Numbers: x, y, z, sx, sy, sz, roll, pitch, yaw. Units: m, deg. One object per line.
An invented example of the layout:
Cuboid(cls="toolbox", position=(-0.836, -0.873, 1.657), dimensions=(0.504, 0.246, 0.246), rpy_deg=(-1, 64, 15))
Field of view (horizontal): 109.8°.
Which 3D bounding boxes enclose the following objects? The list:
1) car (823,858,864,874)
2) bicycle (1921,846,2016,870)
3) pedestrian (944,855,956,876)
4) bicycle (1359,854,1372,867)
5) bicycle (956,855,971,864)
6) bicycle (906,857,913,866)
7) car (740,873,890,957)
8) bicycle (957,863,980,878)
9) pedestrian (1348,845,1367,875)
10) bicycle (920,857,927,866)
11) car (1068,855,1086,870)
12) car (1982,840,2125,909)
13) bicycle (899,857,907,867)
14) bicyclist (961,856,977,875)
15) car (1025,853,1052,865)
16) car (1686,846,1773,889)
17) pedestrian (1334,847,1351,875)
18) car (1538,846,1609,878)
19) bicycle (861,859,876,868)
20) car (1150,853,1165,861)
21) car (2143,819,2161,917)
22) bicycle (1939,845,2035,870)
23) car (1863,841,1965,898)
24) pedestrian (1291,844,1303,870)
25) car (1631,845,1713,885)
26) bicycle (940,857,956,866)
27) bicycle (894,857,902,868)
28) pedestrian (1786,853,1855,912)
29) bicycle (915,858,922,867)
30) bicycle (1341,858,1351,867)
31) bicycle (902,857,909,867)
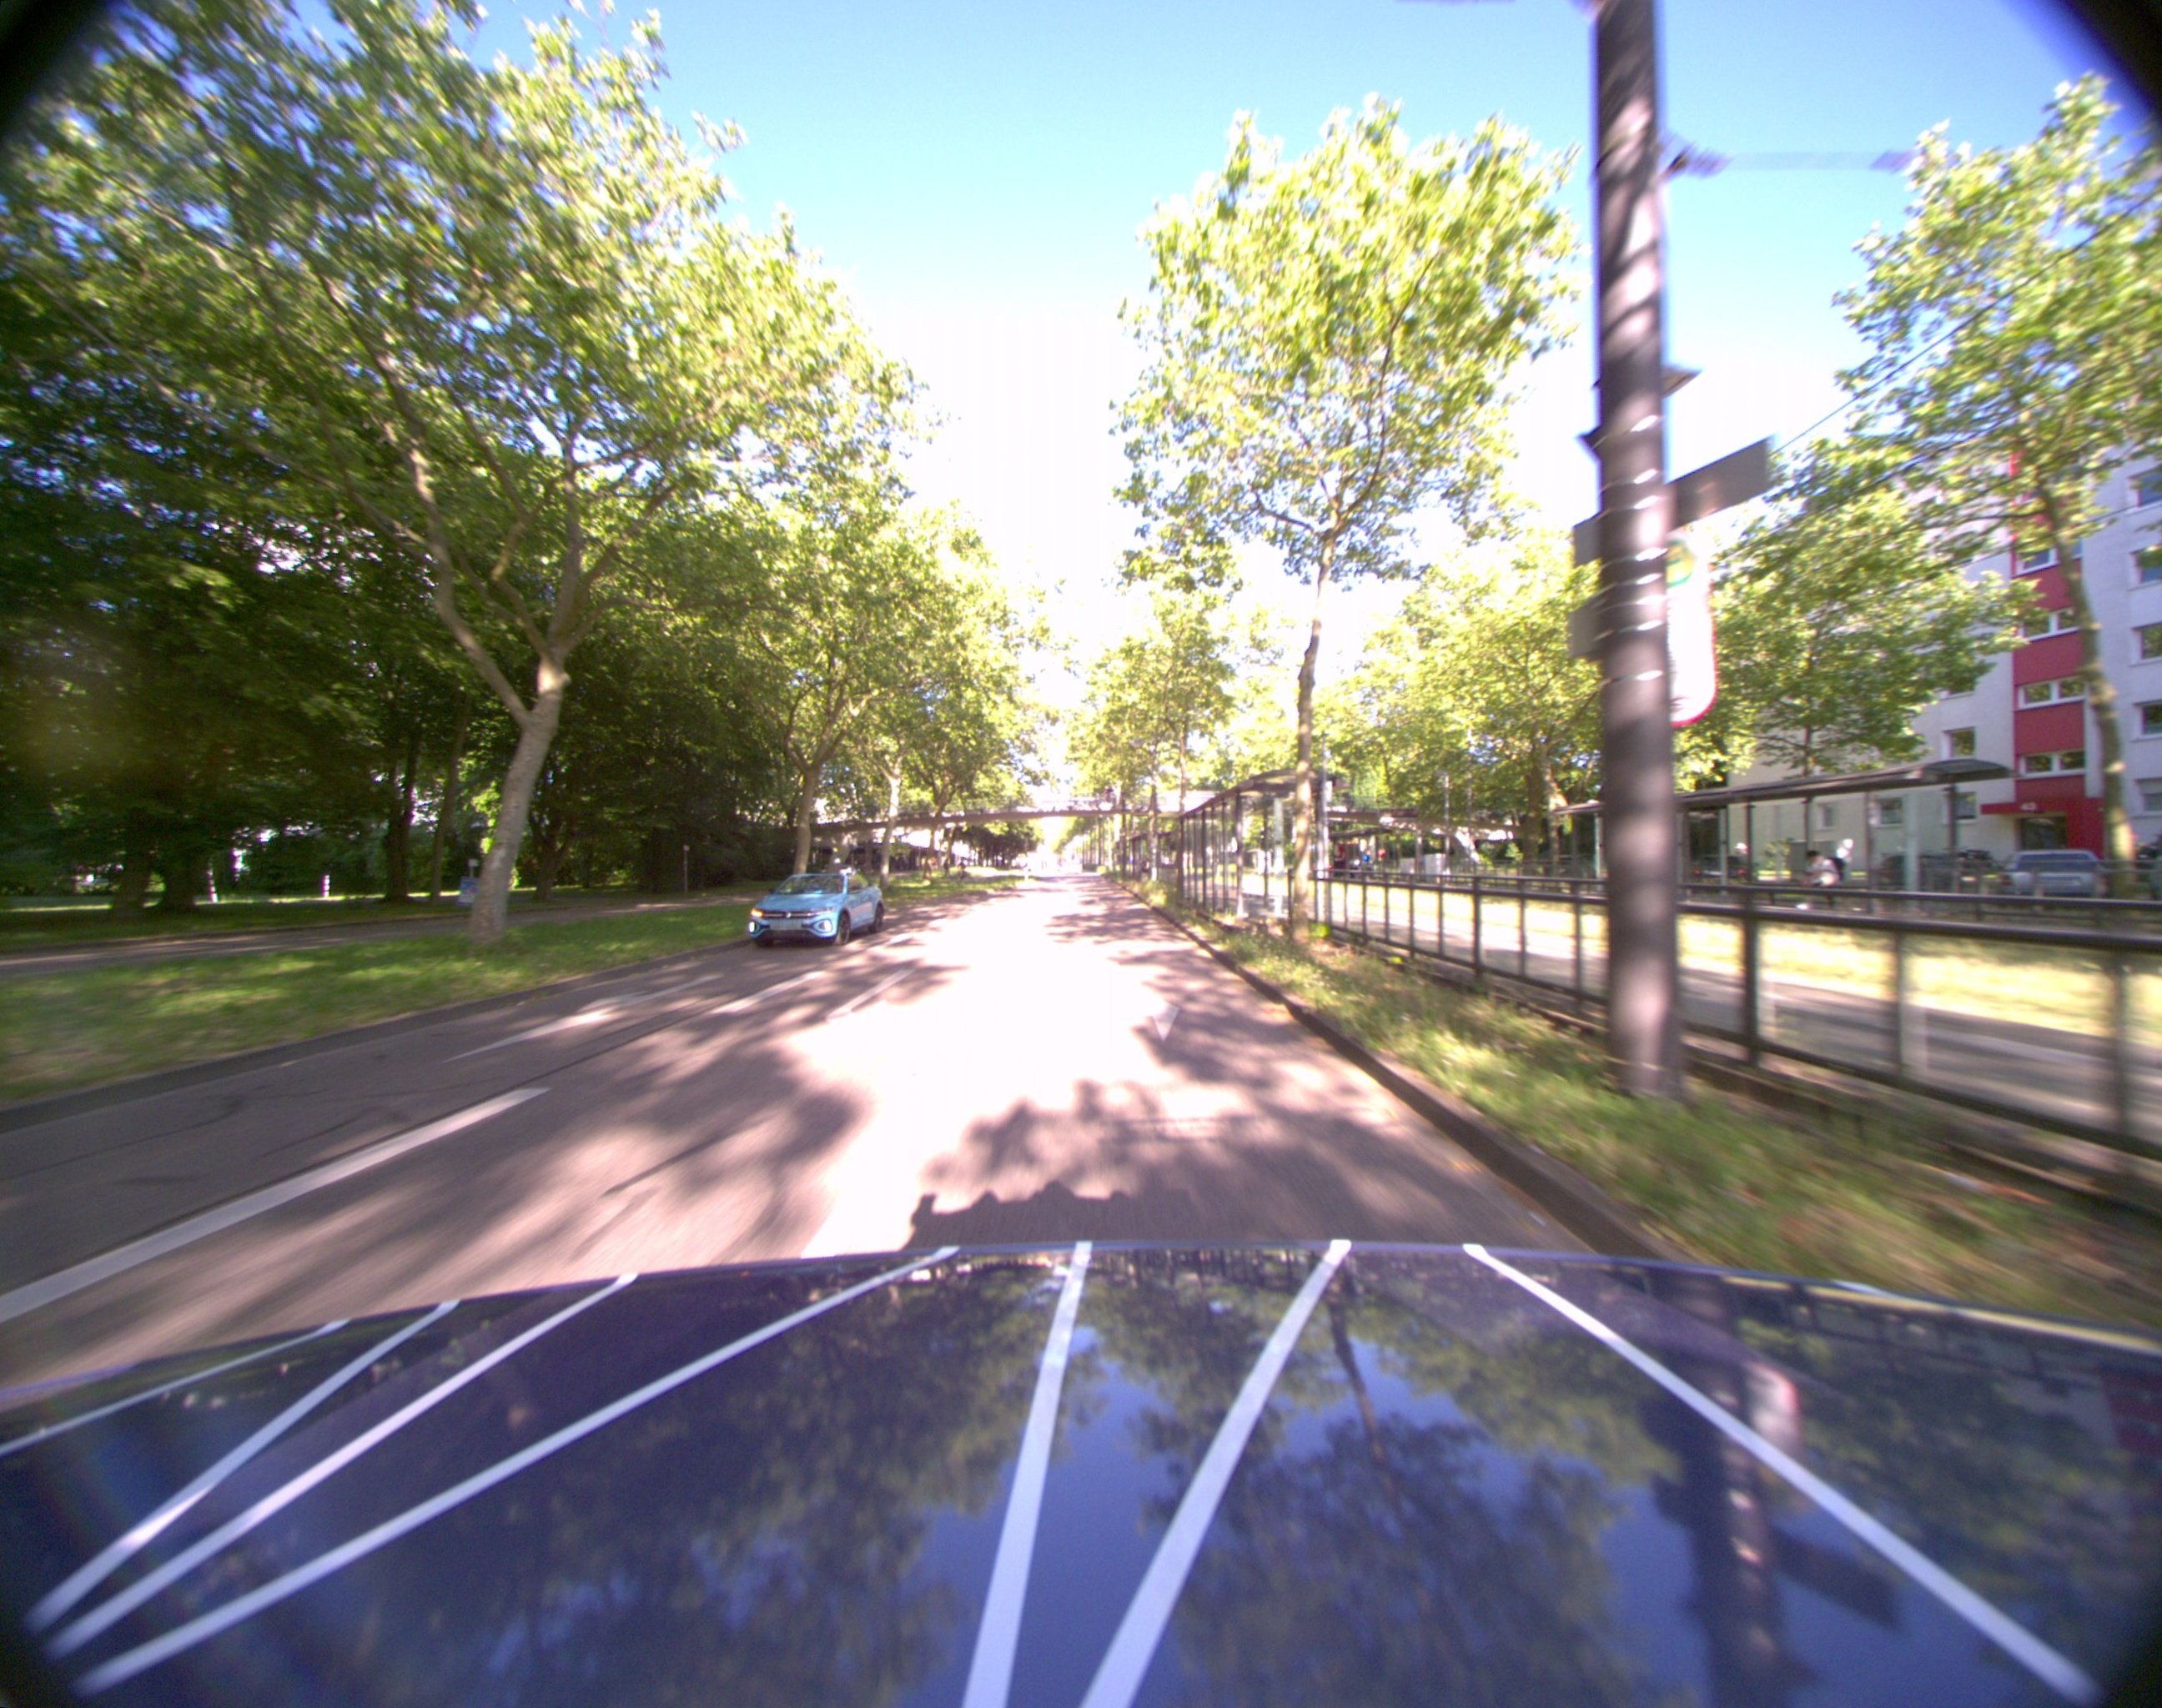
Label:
Cuboid(cls="car", position=(-25.022, 1.293, 80.065), dimensions=(3.739, 1.486, 1.709), rpy_deg=(-2, -2, -3))
Cuboid(cls="bicycle", position=(36.281, 0.193, 31.125), dimensions=(0.697, 0.922, 2.595), rpy_deg=(-2, -1, -3))
Cuboid(cls="pedestrian", position=(-10.872, 0.951, 63.166), dimensions=(0.658, 1.766, 0.741), rpy_deg=(-2, -1, 37))
Cuboid(cls="bicycle", position=(24.117, 0.544, 64.381), dimensions=(0.435, 1.003, 1.686), rpy_deg=(-2, 0, 0))
Cuboid(cls="bicycle", position=(-16.325, 0.747, 105.804), dimensions=(2.074, 1.151, 0.561), rpy_deg=(0, 0, -11))
Cuboid(cls="bicycle", position=(-24.109, 1.001, 106.793), dimensions=(0.577, 1.246, 1.805), rpy_deg=(-2, 1, -2))
Cuboid(cls="car", position=(-5.612, 1.221, 16.638), dimensions=(1.780, 1.474, 4.100), rpy_deg=(-2, 0, 0))
Cuboid(cls="bicycle", position=(-9.432, 1.397, 63.853), dimensions=(1.831, 1.140, 0.817), rpy_deg=(1, 0, 36))
Cuboid(cls="pedestrian", position=(15.150, 0.322, 41.635), dimensions=(0.731, 1.625, 0.715), rpy_deg=(0, 1, -2))
Cuboid(cls="bicycle", position=(-22.594, 1.001, 108.913), dimensions=(0.577, 1.246, 1.805), rpy_deg=(-2, 1, -2))
Cuboid(cls="car", position=(-0.431, 0.909, 86.228), dimensions=(1.898, 1.623, 4.502), rpy_deg=(-2, 0, 1))
Cuboid(cls="car", position=(24.635, 0.488, 19.405), dimensions=(4.508, 1.489, 1.895), rpy_deg=(-2, -1, -42))
Cuboid(cls="bicycle", position=(-23.466, 1.058, 100.217), dimensions=(0.577, 1.246, 1.805), rpy_deg=(-2, 1, -2))
Cuboid(cls="bicyclist", position=(-9.422, 0.956, 63.866), dimensions=(0.954, 1.622, 0.817), rpy_deg=(1, -1, 36))
Cuboid(cls="car", position=(-6.434, 0.816, 116.196), dimensions=(1.763, 1.832, 3.960), rpy_deg=(1, 0, 44))
Cuboid(cls="car", position=(24.779, 0.505, 28.972), dimensions=(4.207, 1.420, 1.696), rpy_deg=(-2, -1, -38))
Cuboid(cls="pedestrian", position=(14.479, 0.377, 42.056), dimensions=(0.644, 1.505, 0.683), rpy_deg=(0, 1, -13))
Cuboid(cls="car", position=(24.895, 0.386, 38.348), dimensions=(4.207, 1.420, 1.696), rpy_deg=(-2, -1, -38))
Cuboid(cls="bicycle", position=(-26.403, 1.190, 94.413), dimensions=(1.806, 1.109, 0.710), rpy_deg=(-1, 2, -8))
Cuboid(cls="car", position=(18.246, 0.681, 181.233), dimensions=(1.884, 1.558, 4.007), rpy_deg=(-2, 1, 34))
Cuboid(cls="car", position=(24.314, 0.245, 16.043), dimensions=(4.508, 2.051, 1.895), rpy_deg=(-2, -1, -38))
Cuboid(cls="bicycle", position=(37.042, 0.162, 31.119), dimensions=(0.697, 0.922, 2.595), rpy_deg=(-2, -1, -3))
Cuboid(cls="car", position=(25.199, 0.440, 22.992), dimensions=(4.508, 1.489, 1.895), rpy_deg=(-2, -1, -42))
Cuboid(cls="pedestrian", position=(14.607, 0.202, 51.418), dimensions=(0.504, 1.760, 0.483), rpy_deg=(-3, 1, -41))
Cuboid(cls="car", position=(24.745, 0.440, 31.762), dimensions=(4.207, 1.420, 1.696), rpy_deg=(-2, -1, -38))
Cuboid(cls="bicycle", position=(-18.744, 1.052, 107.036), dimensions=(2.069, 1.151, 0.562), rpy_deg=(0, 0, 13))
Cuboid(cls="bicycle", position=(-23.184, 1.076, 96.228), dimensions=(0.577, 1.246, 1.805), rpy_deg=(-2, 1, -2))
Cuboid(cls="pedestrian", position=(14.759, 0.562, 15.178), dimensions=(0.696, 1.121, 0.662), rpy_deg=(2, 1, 1))
Cuboid(cls="bicycle", position=(-22.248, 1.136, 104.010), dimensions=(0.577, 1.246, 1.805), rpy_deg=(-2, 1, -2))
Cuboid(cls="bicycle", position=(22.682, 0.713, 64.988), dimensions=(0.435, 0.774, 1.174), rpy_deg=(-2, 0, 0))
Cuboid(cls="bicycle", position=(-23.610, 1.048, 102.290), dimensions=(0.577, 1.246, 1.805), rpy_deg=(-2, 1, -2))
